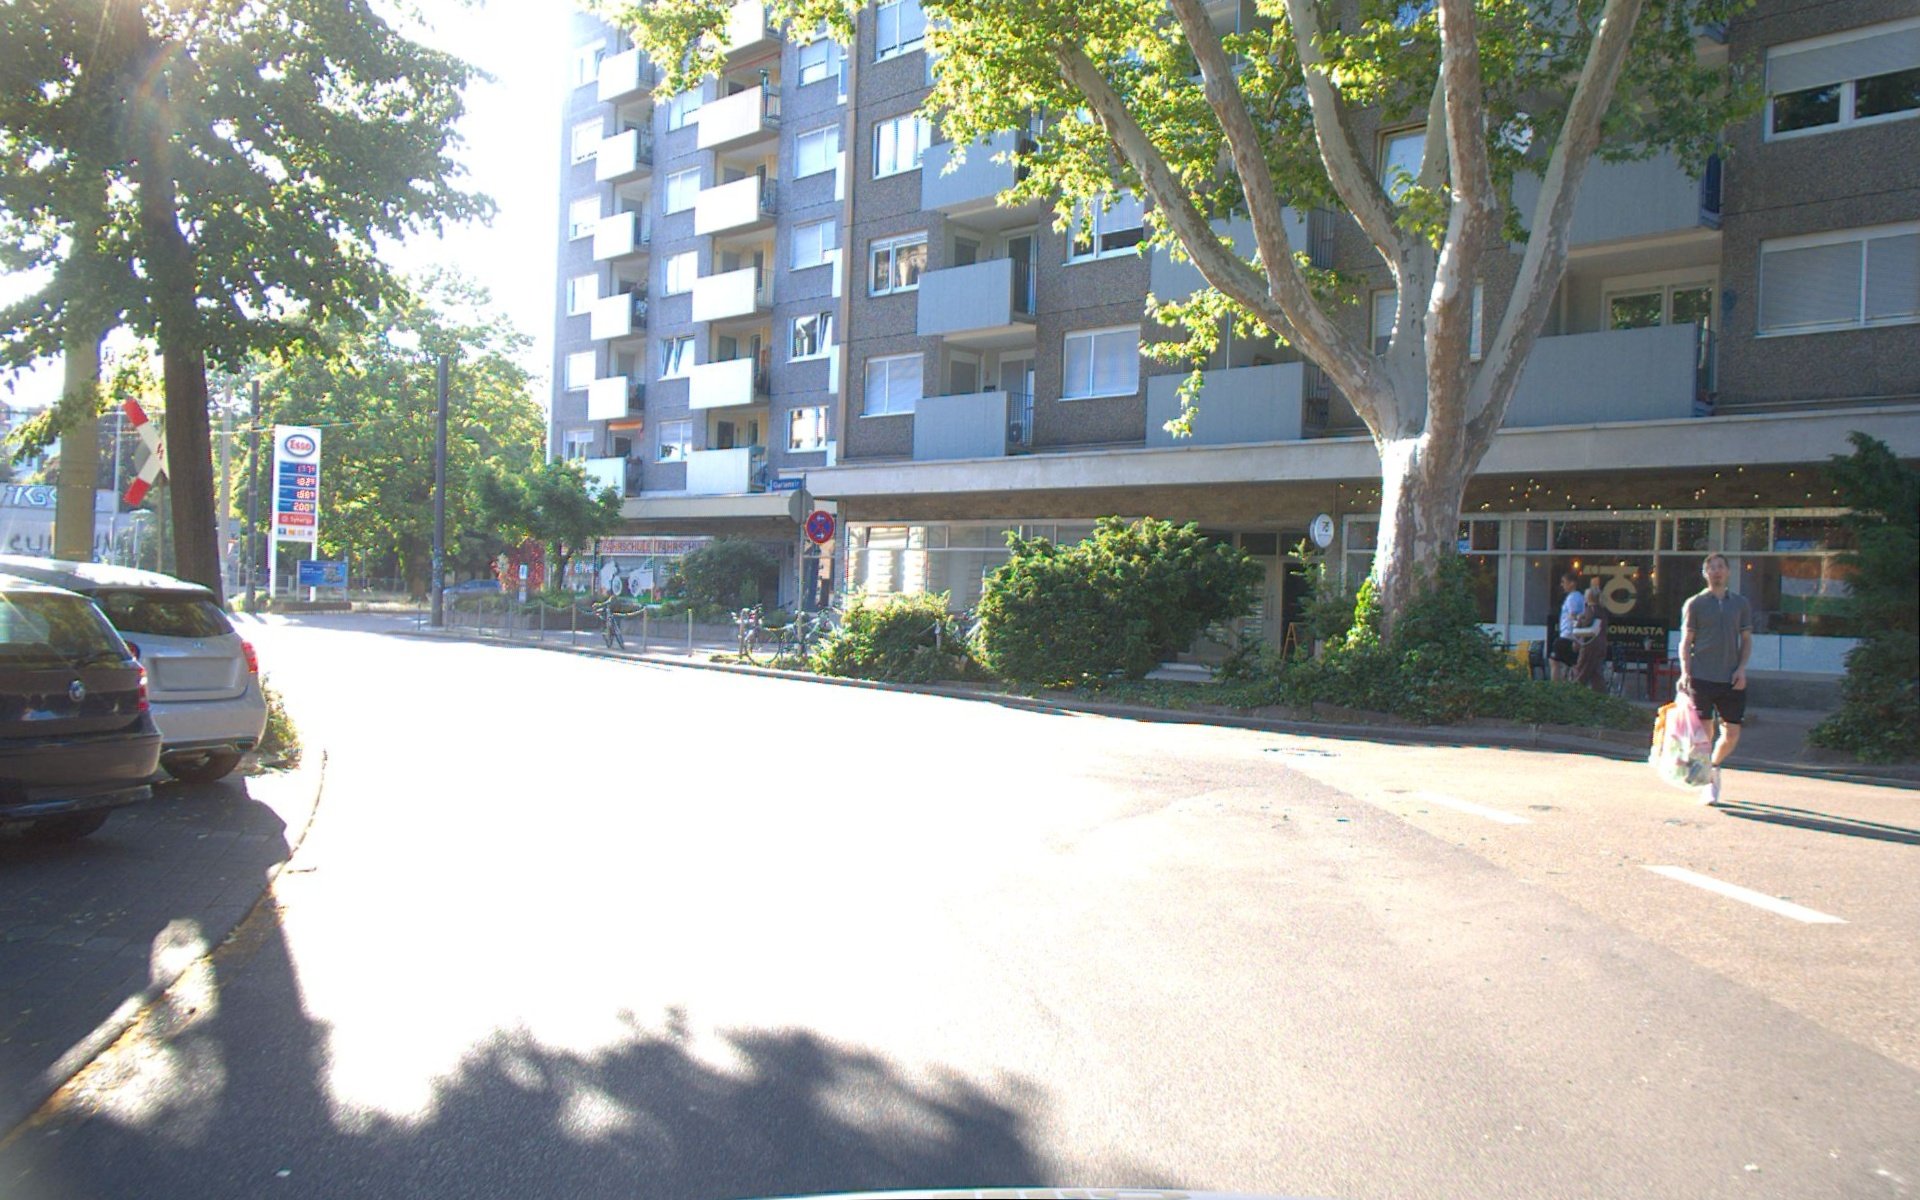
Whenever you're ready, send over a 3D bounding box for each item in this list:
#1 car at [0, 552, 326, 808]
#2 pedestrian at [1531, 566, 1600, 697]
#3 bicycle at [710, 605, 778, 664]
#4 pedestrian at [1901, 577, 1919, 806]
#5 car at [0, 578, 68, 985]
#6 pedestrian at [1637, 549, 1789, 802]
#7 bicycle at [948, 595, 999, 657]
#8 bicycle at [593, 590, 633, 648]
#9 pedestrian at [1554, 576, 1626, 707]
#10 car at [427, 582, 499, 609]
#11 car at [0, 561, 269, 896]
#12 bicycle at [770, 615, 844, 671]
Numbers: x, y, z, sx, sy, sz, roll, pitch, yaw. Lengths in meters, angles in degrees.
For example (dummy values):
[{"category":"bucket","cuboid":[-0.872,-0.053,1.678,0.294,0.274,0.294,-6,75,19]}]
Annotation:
[{"category":"car","cuboid":[-6.646,0.395,11.069,4.190,1.454,1.775,3,0,16]},{"category":"pedestrian","cuboid":[8.500,0.437,23.208,0.680,1.804,0.627,1,0,-40]},{"category":"bicycle","cuboid":[-4.109,0.637,31.328,0.630,1.040,2.070,1,0,-26]},{"category":"pedestrian","cuboid":[7.274,0.665,11.717,0.795,1.636,0.717,1,0,3]},{"category":"car","cuboid":[-5.308,0.469,5.488,3.889,1.388,1.776,5,0,15]},{"category":"pedestrian","cuboid":[5.593,0.544,12.326,0.795,1.812,0.717,1,0,3]},{"category":"bicycle","cuboid":[0.228,0.446,28.981,0.345,1.056,1.039,1,0,-36]},{"category":"bicycle","cuboid":[-7.903,0.414,37.578,0.629,1.247,2.077,1,0,-19]},{"category":"pedestrian","cuboid":[8.490,0.546,22.297,0.680,1.721,0.635,1,0,-40]},{"category":"car","cuboid":[-29.878,-0.274,99.395,3.936,1.478,1.795,1,0,-25]},{"category":"car","cuboid":[-5.823,0.468,8.368,3.942,1.430,1.776,3,0,13]},{"category":"bicycle","cuboid":[-2.766,0.759,29.712,0.538,0.920,1.714,1,0,-35]}]
